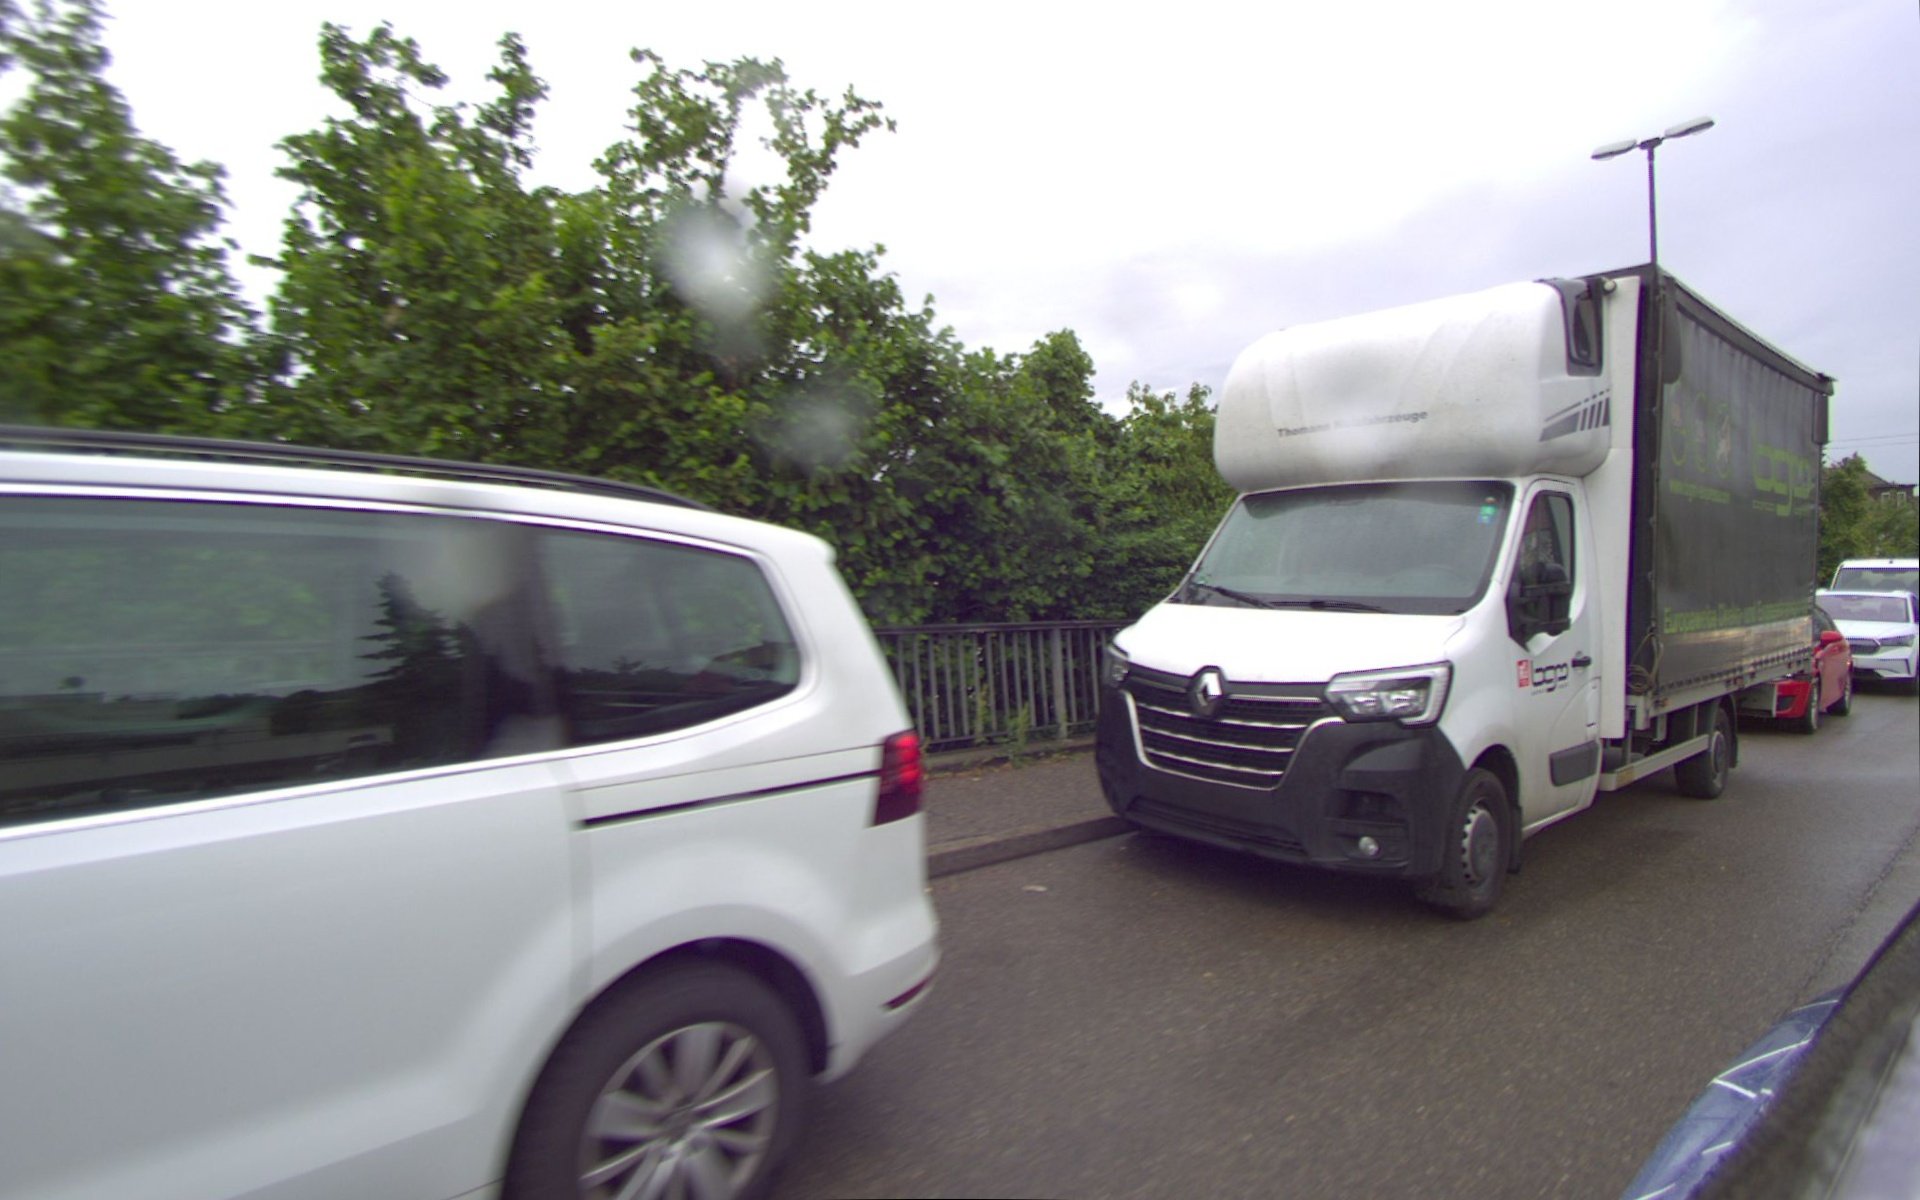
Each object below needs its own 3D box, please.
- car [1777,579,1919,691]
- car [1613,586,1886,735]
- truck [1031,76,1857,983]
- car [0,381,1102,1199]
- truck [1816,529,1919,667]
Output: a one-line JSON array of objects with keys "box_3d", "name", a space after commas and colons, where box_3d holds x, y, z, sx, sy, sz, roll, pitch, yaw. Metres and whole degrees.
[{"box_3d": [15.209, 0.466, 16.847, 4.586, 1.624, 1.762, -1, 2, -42], "name": "car"}, {"box_3d": [9.922, 0.581, 12.556, 4.901, 1.455, 1.835, -1, 2, -42], "name": "car"}, {"box_3d": [4.142, -0.330, 7.277, 7.826, 3.376, 2.441, -1, 2, -41], "name": "truck"}, {"box_3d": [-2.285, 0.537, 1.768, 5.540, 1.704, 1.849, -1, 2, -41], "name": "car"}, {"box_3d": [20.799, -0.084, 22.002, 6.422, 2.664, 2.244, -1, 2, -40], "name": "truck"}]
